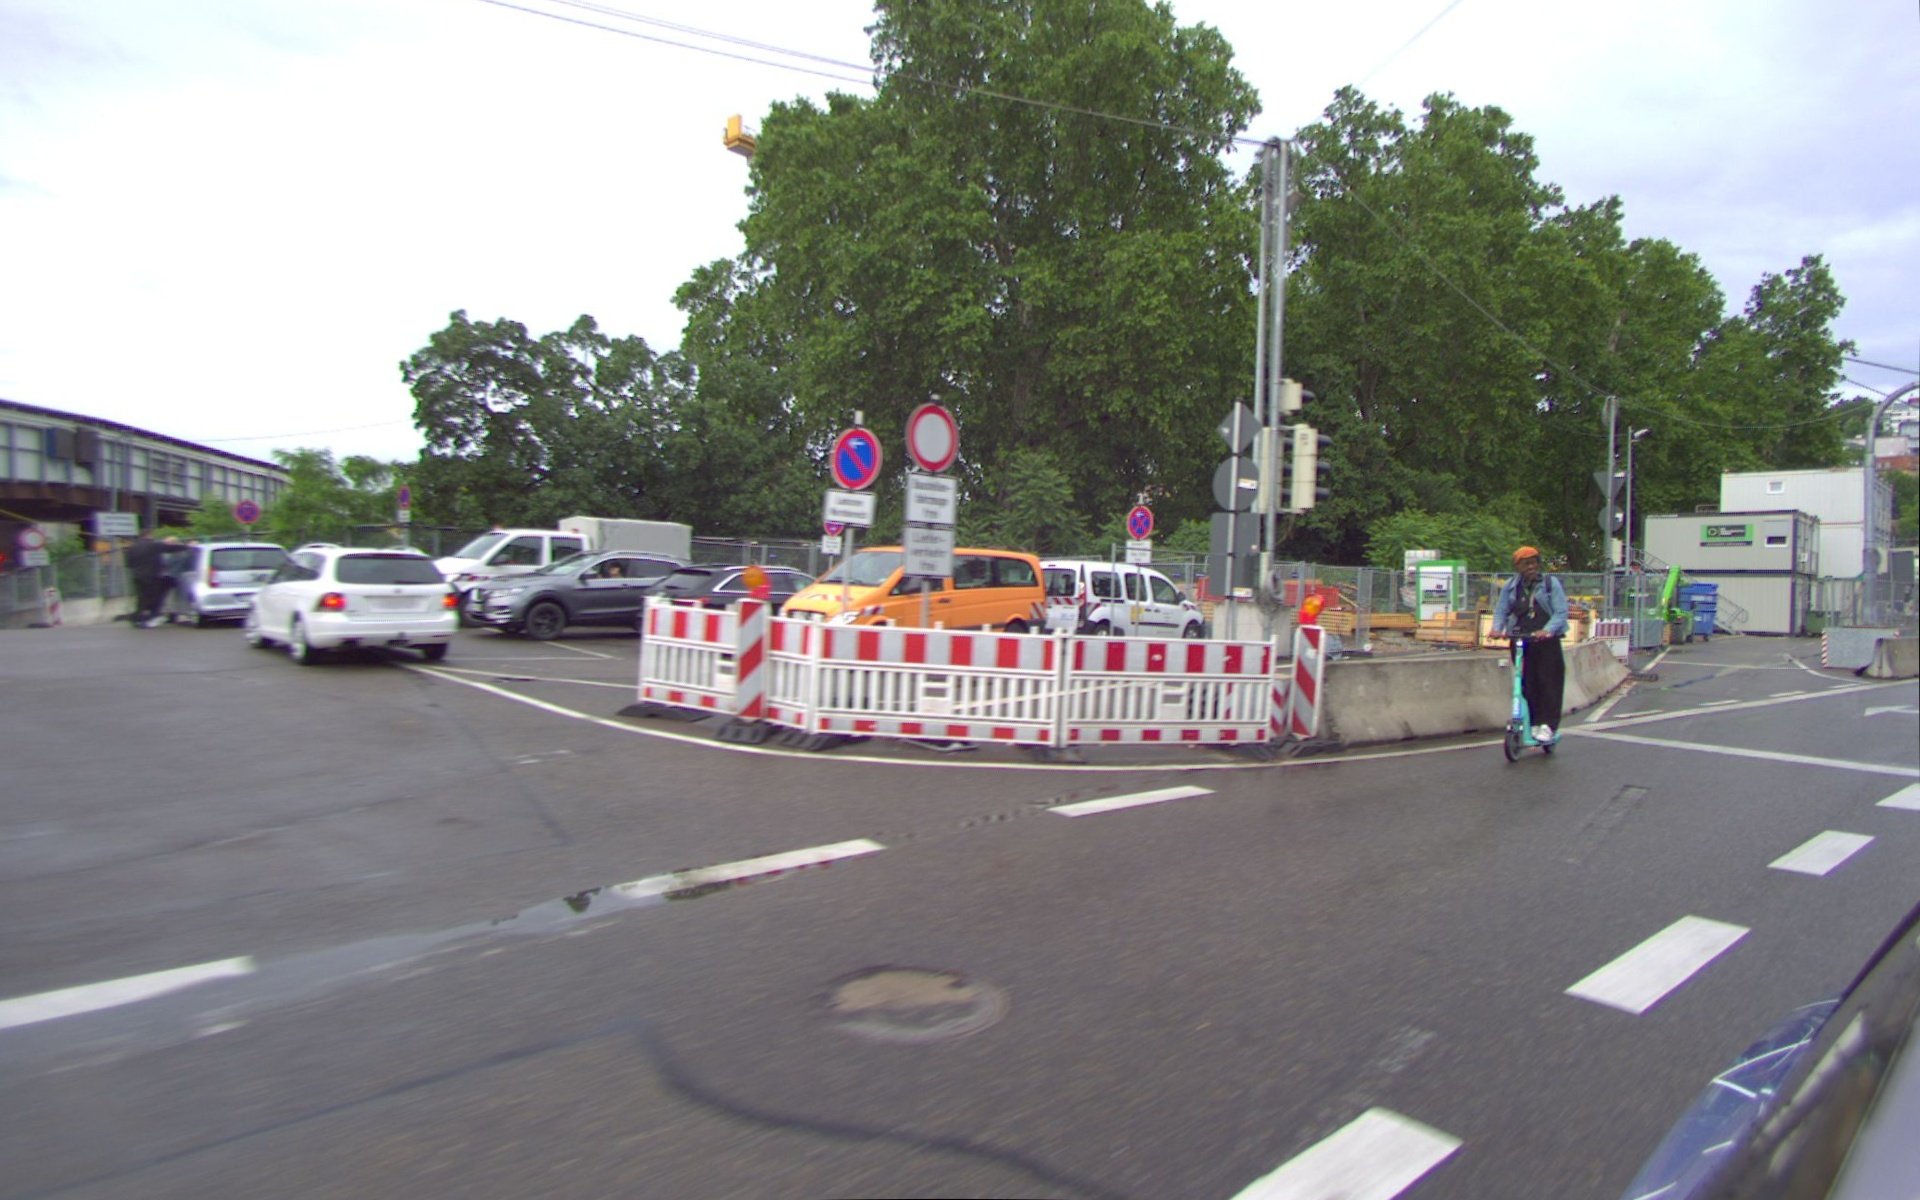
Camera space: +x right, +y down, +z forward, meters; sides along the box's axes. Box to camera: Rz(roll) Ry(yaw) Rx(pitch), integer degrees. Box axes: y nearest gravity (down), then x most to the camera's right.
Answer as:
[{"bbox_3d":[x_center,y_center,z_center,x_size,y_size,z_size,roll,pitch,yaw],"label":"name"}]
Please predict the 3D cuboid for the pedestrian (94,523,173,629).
[{"bbox_3d":[-14.132,-0.427,17.329,0.806,1.754,0.710,0,4,-18],"label":"pedestrian"}]

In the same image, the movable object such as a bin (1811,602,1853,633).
[{"bbox_3d":[39.898,0.804,46.319,1.218,1.251,1.249,-3,5,-42],"label":"movable object such as a bin"}]

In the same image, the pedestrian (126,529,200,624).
[{"bbox_3d":[-14.205,-0.435,18.055,0.802,1.655,0.710,0,4,-18],"label":"pedestrian"}]

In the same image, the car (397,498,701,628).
[{"bbox_3d":[-8.347,-0.758,21.047,2.044,2.341,5.522,4,3,41],"label":"car"}]

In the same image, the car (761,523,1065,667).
[{"bbox_3d":[-0.591,-0.108,16.535,1.912,2.000,5.083,2,2,43],"label":"car"}]

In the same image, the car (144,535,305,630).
[{"bbox_3d":[-13.433,-0.399,18.439,3.341,1.498,1.604,5,5,40],"label":"car"}]

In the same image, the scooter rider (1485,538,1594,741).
[{"bbox_3d":[5.464,0.342,9.533,0.980,1.808,0.598,0,1,-44],"label":"scooter rider"}]

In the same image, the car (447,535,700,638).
[{"bbox_3d":[-6.998,-0.269,18.580,1.939,1.639,3.875,5,3,42],"label":"car"}]

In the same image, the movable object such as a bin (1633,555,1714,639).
[{"bbox_3d":[25.609,-0.074,36.285,1.807,2.845,3.805,2,0,43],"label":"movable object such as a bin"}]

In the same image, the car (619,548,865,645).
[{"bbox_3d":[-3.638,-0.128,17.428,1.907,1.469,3.861,1,2,37],"label":"car"}]

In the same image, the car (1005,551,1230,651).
[{"bbox_3d":[3.363,0.047,20.901,4.998,1.829,1.849,2,0,-42],"label":"car"}]

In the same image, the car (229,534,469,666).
[{"bbox_3d":[-8.377,-0.086,13.700,4.205,1.470,1.786,4,2,45],"label":"car"}]

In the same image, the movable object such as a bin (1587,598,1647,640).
[{"bbox_3d":[22.197,0.629,34.219,1.238,1.361,1.182,2,0,-22],"label":"movable object such as a bin"}]

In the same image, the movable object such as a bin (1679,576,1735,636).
[{"bbox_3d":[28.652,0.215,38.864,1.446,2.231,1.254,2,0,25],"label":"movable object such as a bin"}]

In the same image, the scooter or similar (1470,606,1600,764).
[{"bbox_3d":[5.439,0.742,9.529,1.639,1.335,0.598,0,1,-44],"label":"scooter or similar"}]
